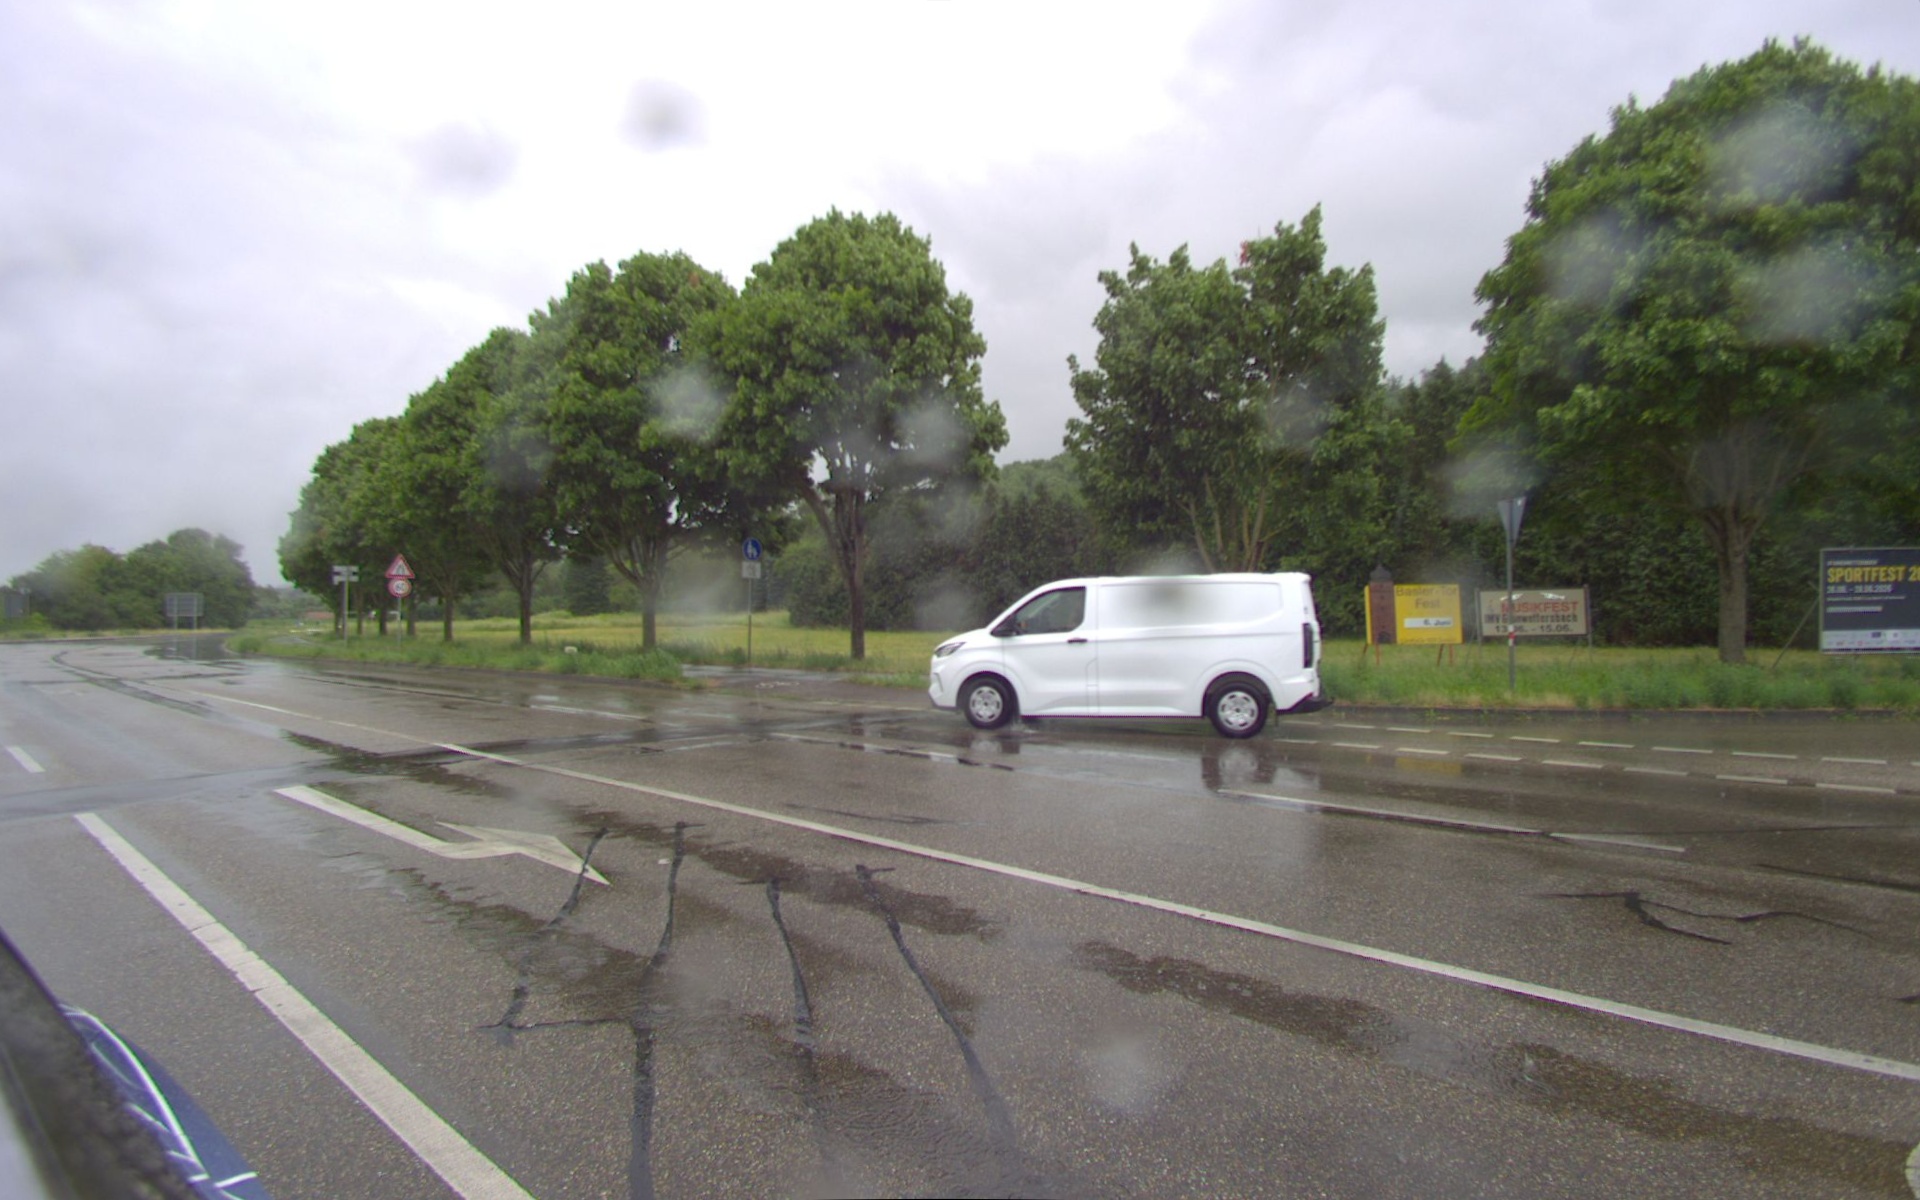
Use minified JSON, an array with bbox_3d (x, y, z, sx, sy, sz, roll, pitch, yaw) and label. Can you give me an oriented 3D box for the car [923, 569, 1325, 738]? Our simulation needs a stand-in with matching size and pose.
[{"bbox_3d":[2.094,0.676,13.119,4.747,1.907,2.102,-1,-2,16],"label":"car"}]
